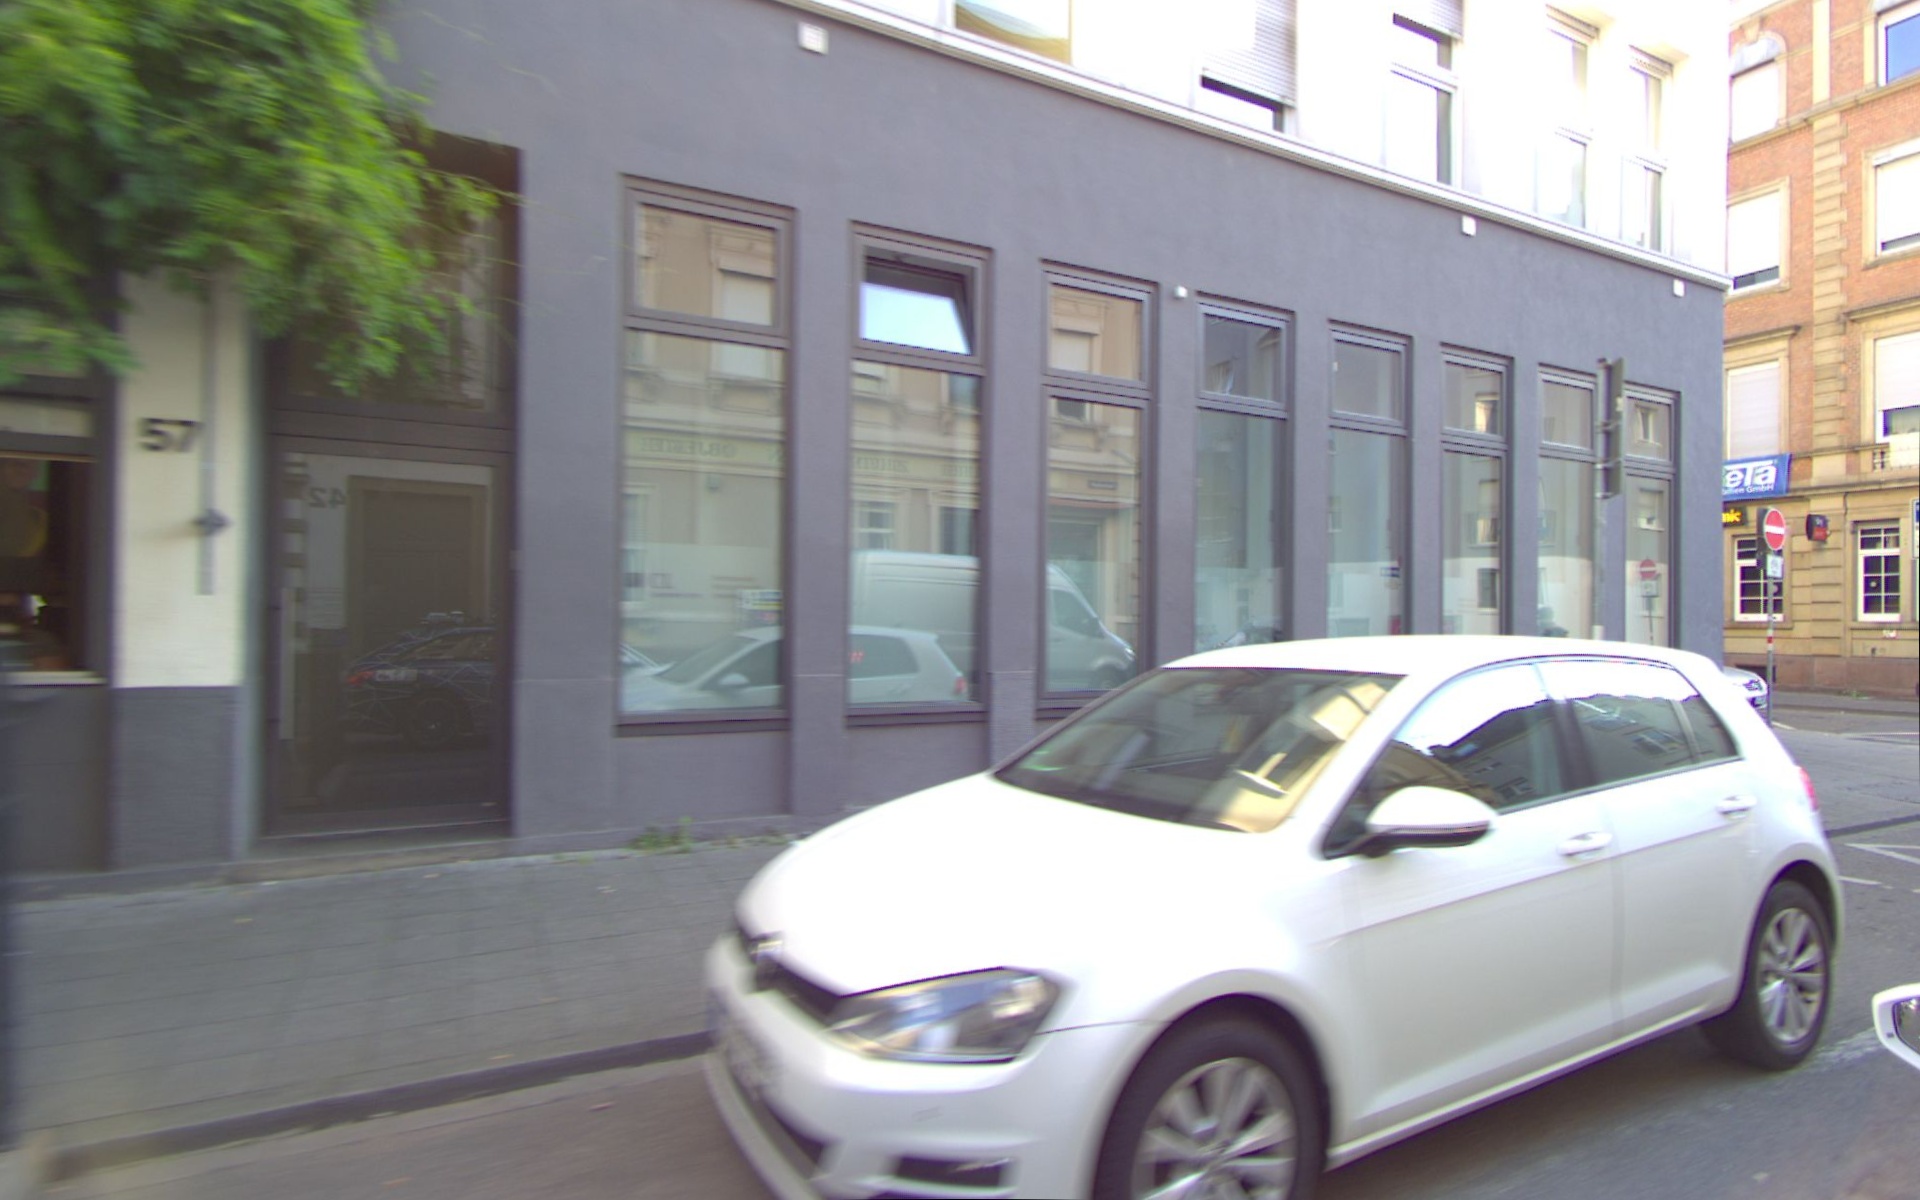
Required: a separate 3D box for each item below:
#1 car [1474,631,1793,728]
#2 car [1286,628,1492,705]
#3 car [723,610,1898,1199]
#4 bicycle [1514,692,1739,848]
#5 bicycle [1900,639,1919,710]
[{"bbox_3d":[11.789,1.301,17.945,1.735,1.420,4.455,0,-1,-28],"label":"car"},{"bbox_3d":[9.738,1.460,23.126,1.988,1.545,4.090,1,-1,-26],"label":"car"},{"bbox_3d":[1.310,0.803,3.434,3.834,1.432,1.651,2,-2,-28],"label":"car"},{"bbox_3d":[4.698,1.145,7.064,1.622,0.917,0.594,1,-1,-27],"label":"bicycle"},{"bbox_3d":[18.808,1.418,18.739,0.653,1.292,1.749,-2,1,-30],"label":"bicycle"}]
